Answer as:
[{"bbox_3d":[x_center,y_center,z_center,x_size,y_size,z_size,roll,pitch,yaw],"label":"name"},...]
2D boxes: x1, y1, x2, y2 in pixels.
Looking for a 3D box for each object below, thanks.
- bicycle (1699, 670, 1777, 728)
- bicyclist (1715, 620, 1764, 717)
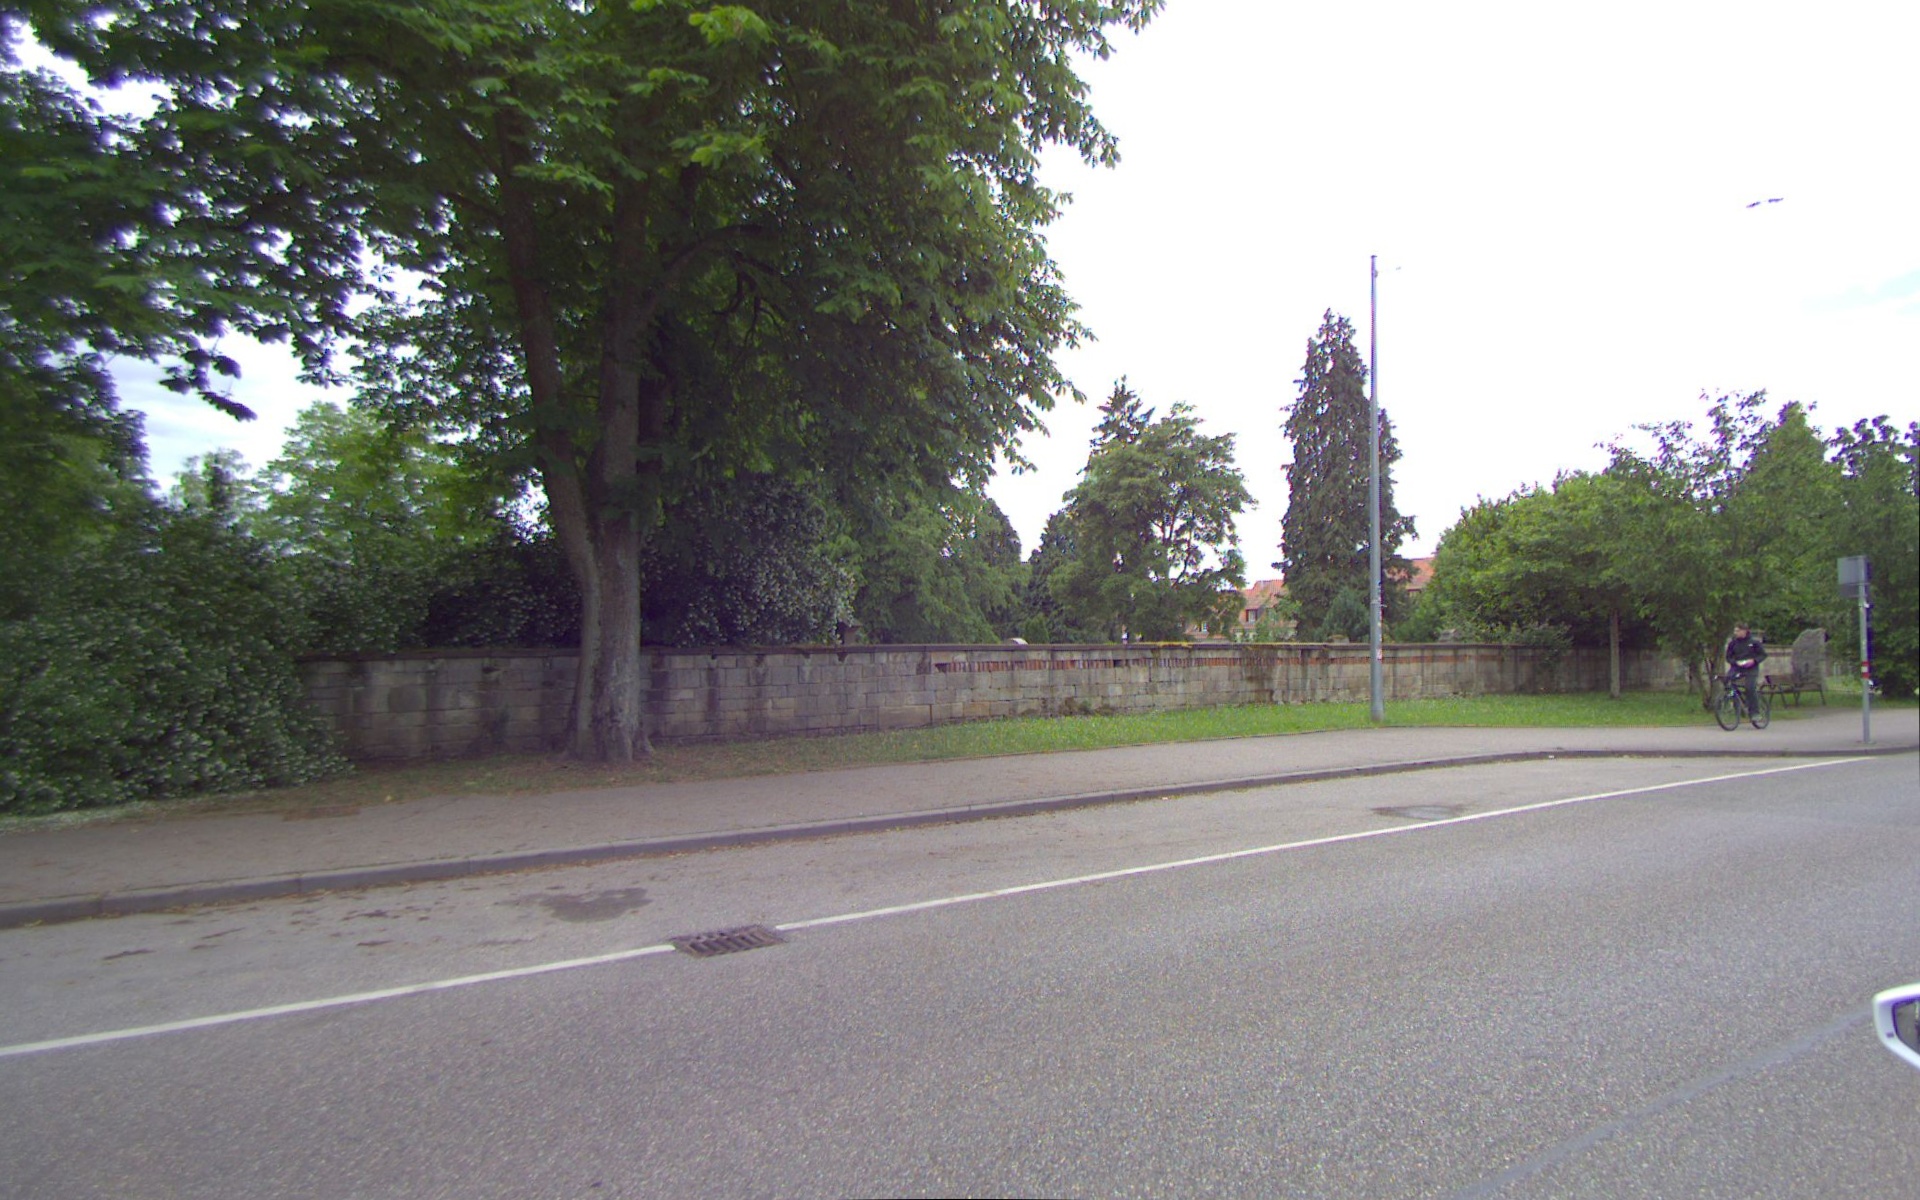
[{"bbox_3d":[14.071,1.772,18.158,1.728,0.977,0.493,2,0,-31],"label":"bicycle"},{"bbox_3d":[14.100,1.225,18.167,0.581,1.706,0.485,2,0,-30],"label":"bicyclist"}]
